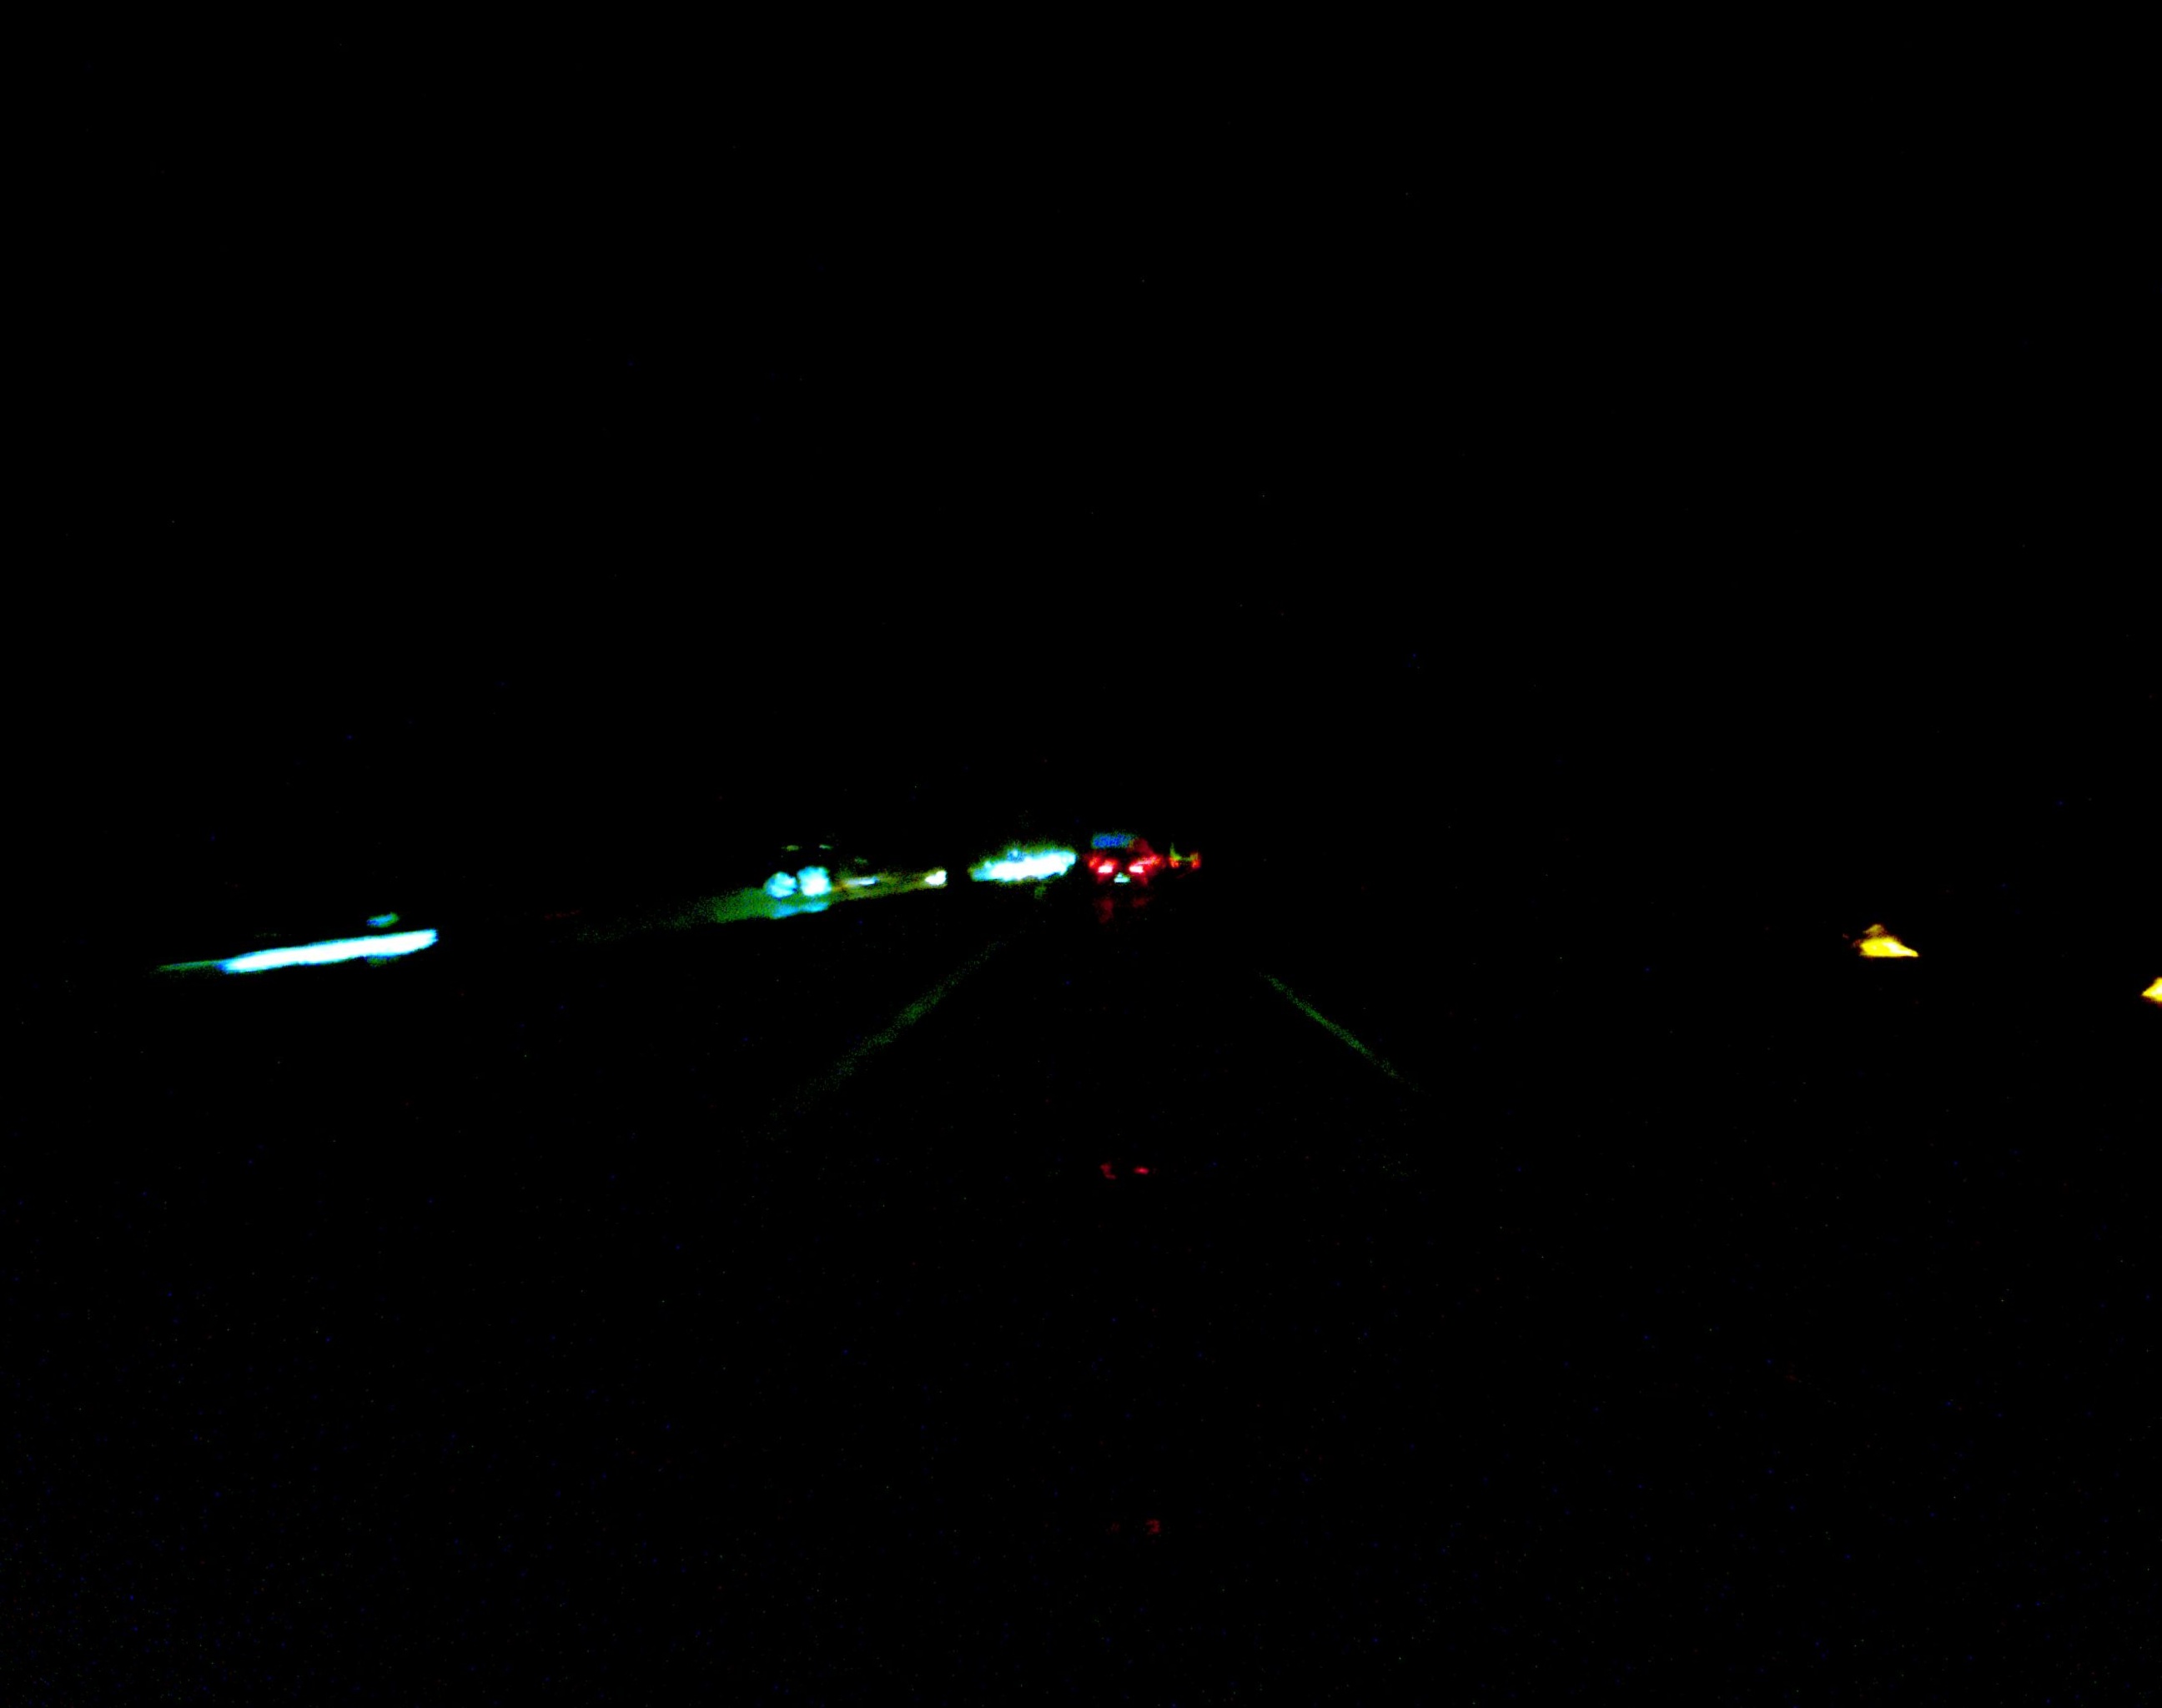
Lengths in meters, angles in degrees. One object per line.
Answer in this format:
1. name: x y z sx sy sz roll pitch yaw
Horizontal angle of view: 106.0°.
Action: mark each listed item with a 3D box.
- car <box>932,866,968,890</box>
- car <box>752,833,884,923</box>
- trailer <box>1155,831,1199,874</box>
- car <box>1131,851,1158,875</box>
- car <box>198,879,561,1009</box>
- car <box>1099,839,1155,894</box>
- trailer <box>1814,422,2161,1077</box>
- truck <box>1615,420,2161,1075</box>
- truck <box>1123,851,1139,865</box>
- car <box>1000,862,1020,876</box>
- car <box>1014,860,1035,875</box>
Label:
1. car: -10.160 1.839 63.201 1.909 1.684 4.002 -3 -1 2
2. car: -15.175 1.227 48.229 3.689 4.728 10.608 0 1 4
3. trailer: 10.167 -0.112 87.782 3.031 4.108 13.827 -3 -1 0
4. car: 5.834 0.831 74.862 1.988 2.013 3.997 -3 -1 -2
5. car: -11.750 1.384 14.253 1.986 1.663 4.811 -3 0 2
6. car: 1.790 0.502 32.744 1.987 2.014 3.999 -1 -1 0
7. trailer: 8.136 -0.695 0.250 2.893 4.108 14.491 -3 0 1
8. truck: 8.297 -0.707 7.369 2.893 4.108 6.032 -3 0 1
9. truck: 12.113 1.028 198.012 3.027 3.297 11.380 -3 -1 0
10. car: -8.886 1.895 102.677 1.909 1.684 4.508 -3 -1 2
11. car: -6.546 1.563 95.335 1.909 1.684 4.002 -3 -1 2
